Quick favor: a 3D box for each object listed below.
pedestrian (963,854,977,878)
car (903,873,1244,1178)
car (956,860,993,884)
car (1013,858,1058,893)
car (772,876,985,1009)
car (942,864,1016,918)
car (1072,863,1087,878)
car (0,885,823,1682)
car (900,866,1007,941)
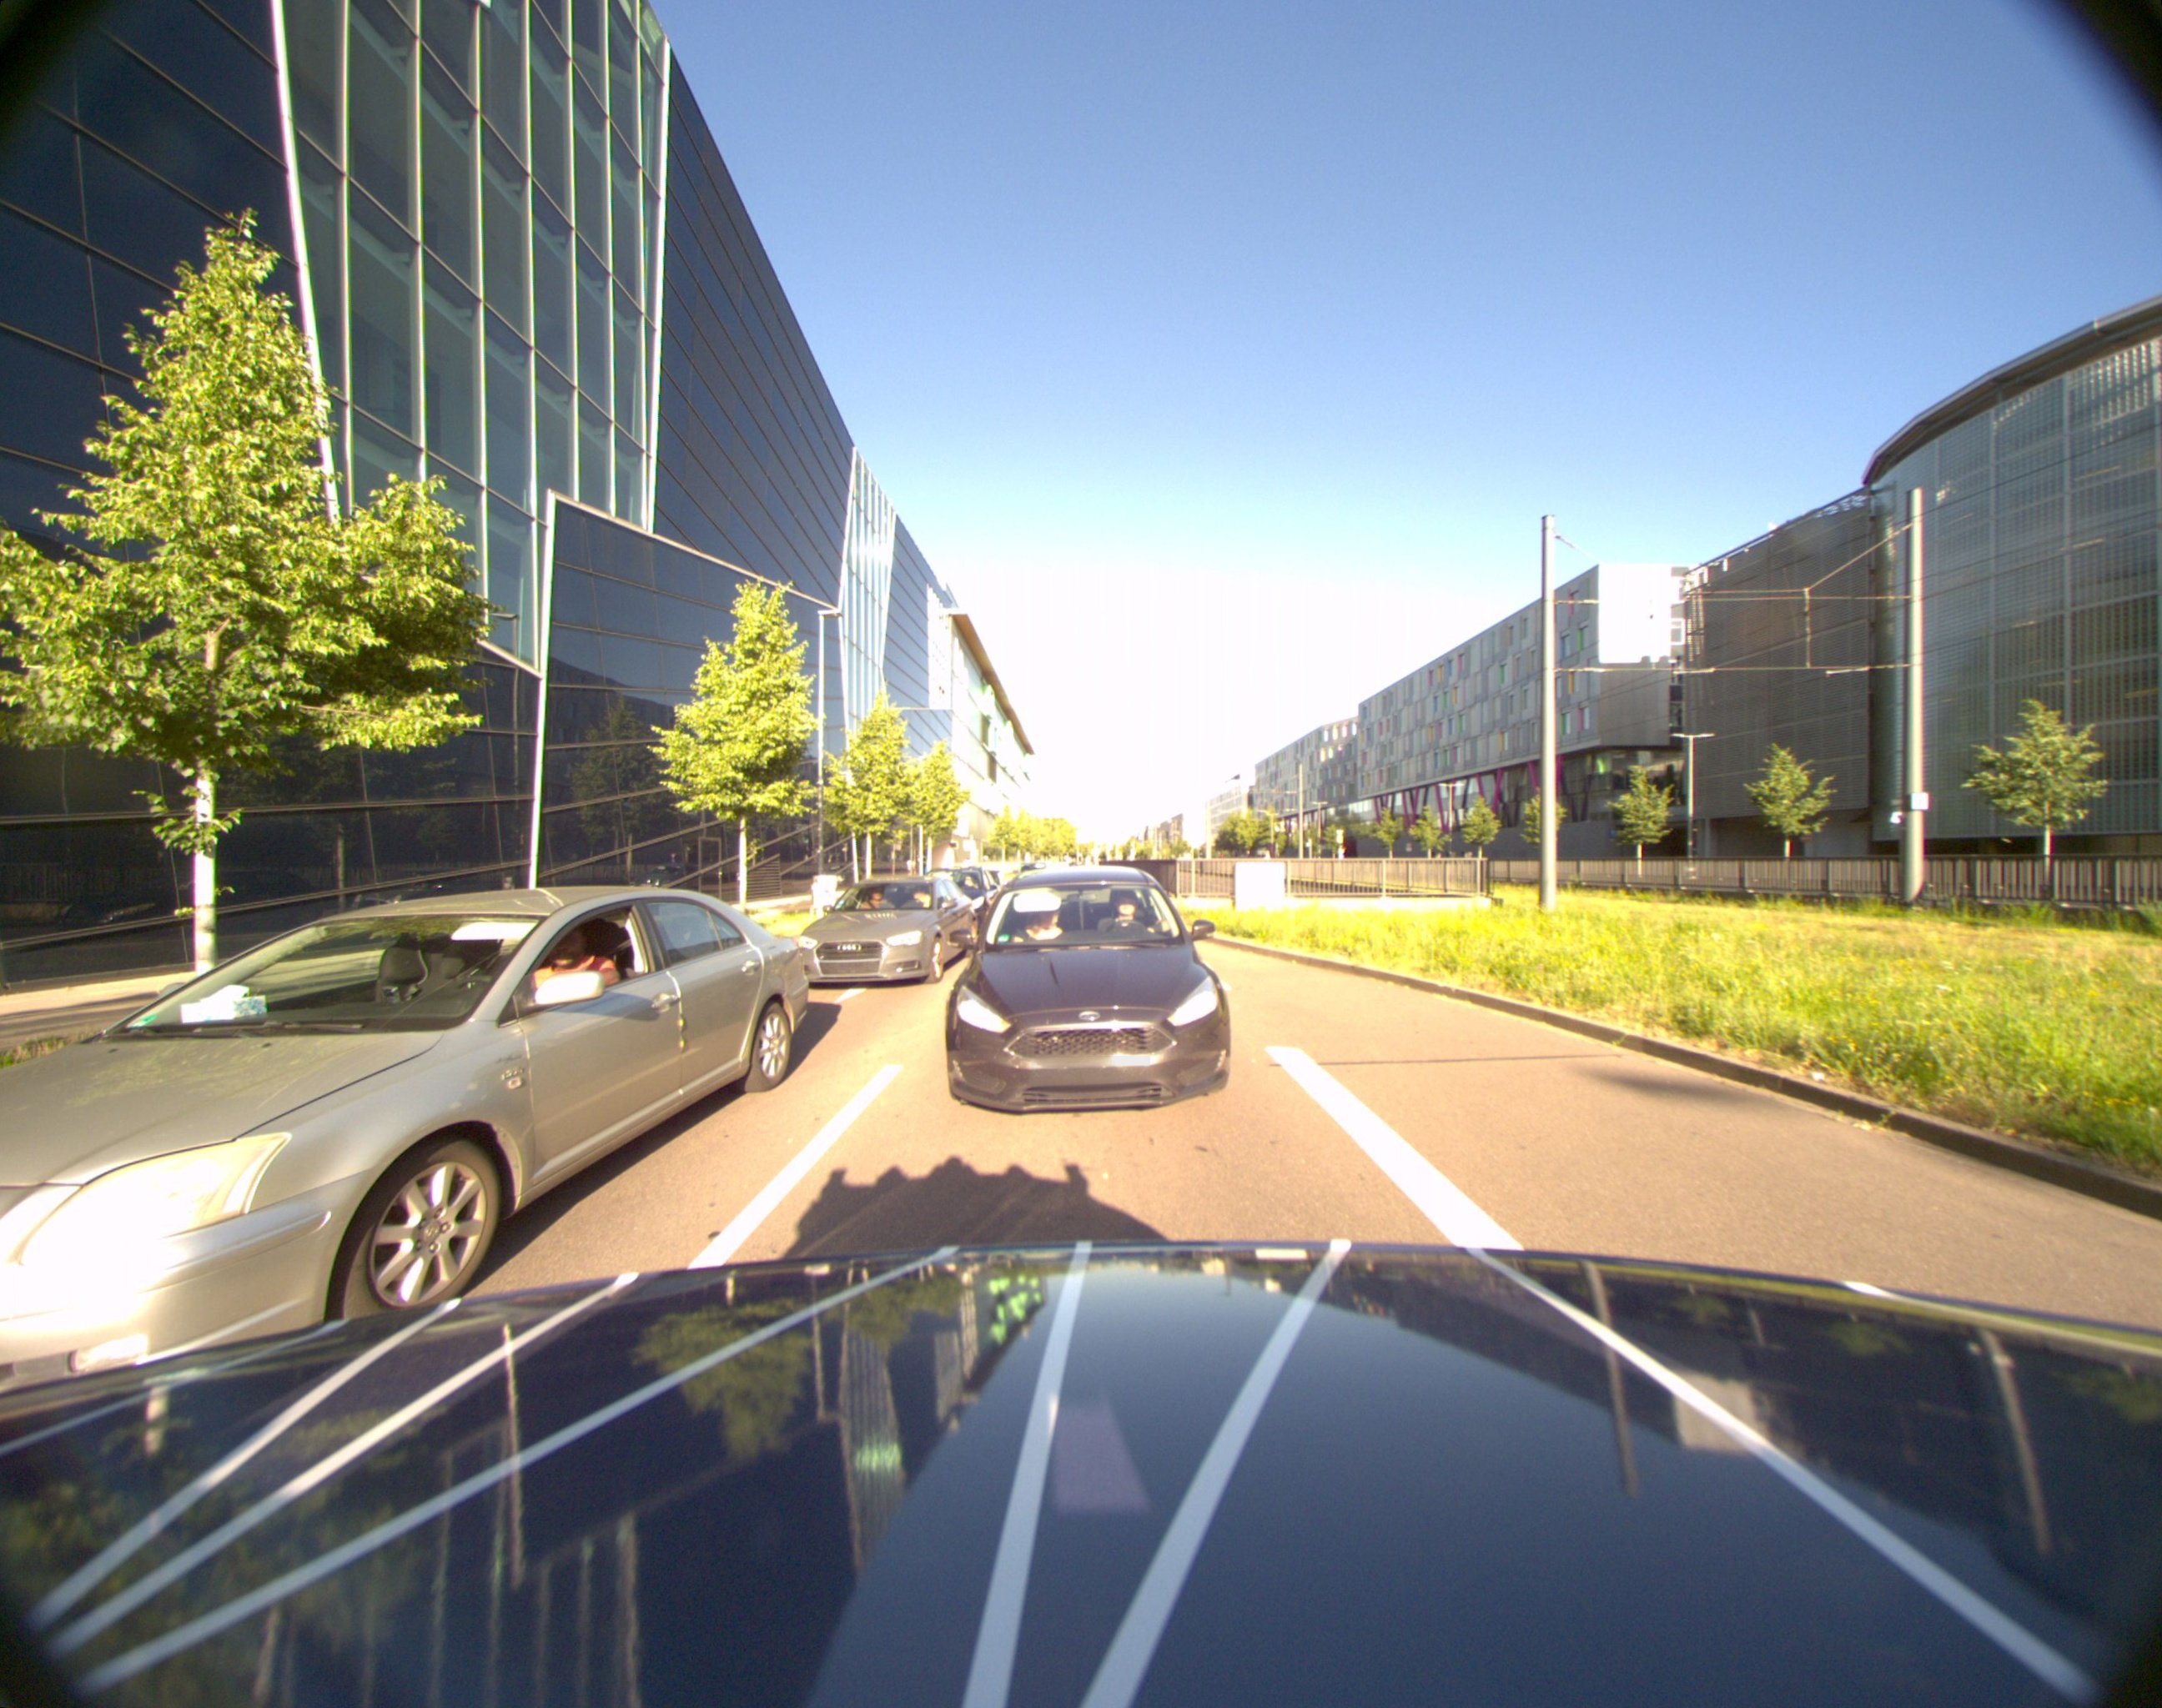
[{"bbox_3d":[-8.820,0.950,60.443,0.828,1.814,0.905,3,0,0],"label":"pedestrian"},{"bbox_3d":[-0.027,0.975,6.370,1.787,1.499,4.590,-2,0,0],"label":"car"},{"bbox_3d":[-7.110,1.165,50.990,1.740,1.489,4.715,1,0,0],"label":"car"},{"bbox_3d":[-2.198,1.006,37.518,1.907,1.612,4.000,0,0,1],"label":"car"},{"bbox_3d":[-2.658,1.109,11.061,1.750,1.384,4.264,-2,0,2],"label":"car"},{"bbox_3d":[-3.057,1.076,23.412,1.753,1.469,3.418,-2,0,0],"label":"car"},{"bbox_3d":[-0.199,2.290,105.772,1.998,2.002,4.000,-2,1,1],"label":"car"},{"bbox_3d":[-3.063,1.007,3.922,1.750,1.473,4.628,-1,0,2],"label":"car"},{"bbox_3d":[-2.809,1.052,17.634,1.753,1.469,3.972,-2,0,0],"label":"car"}]
